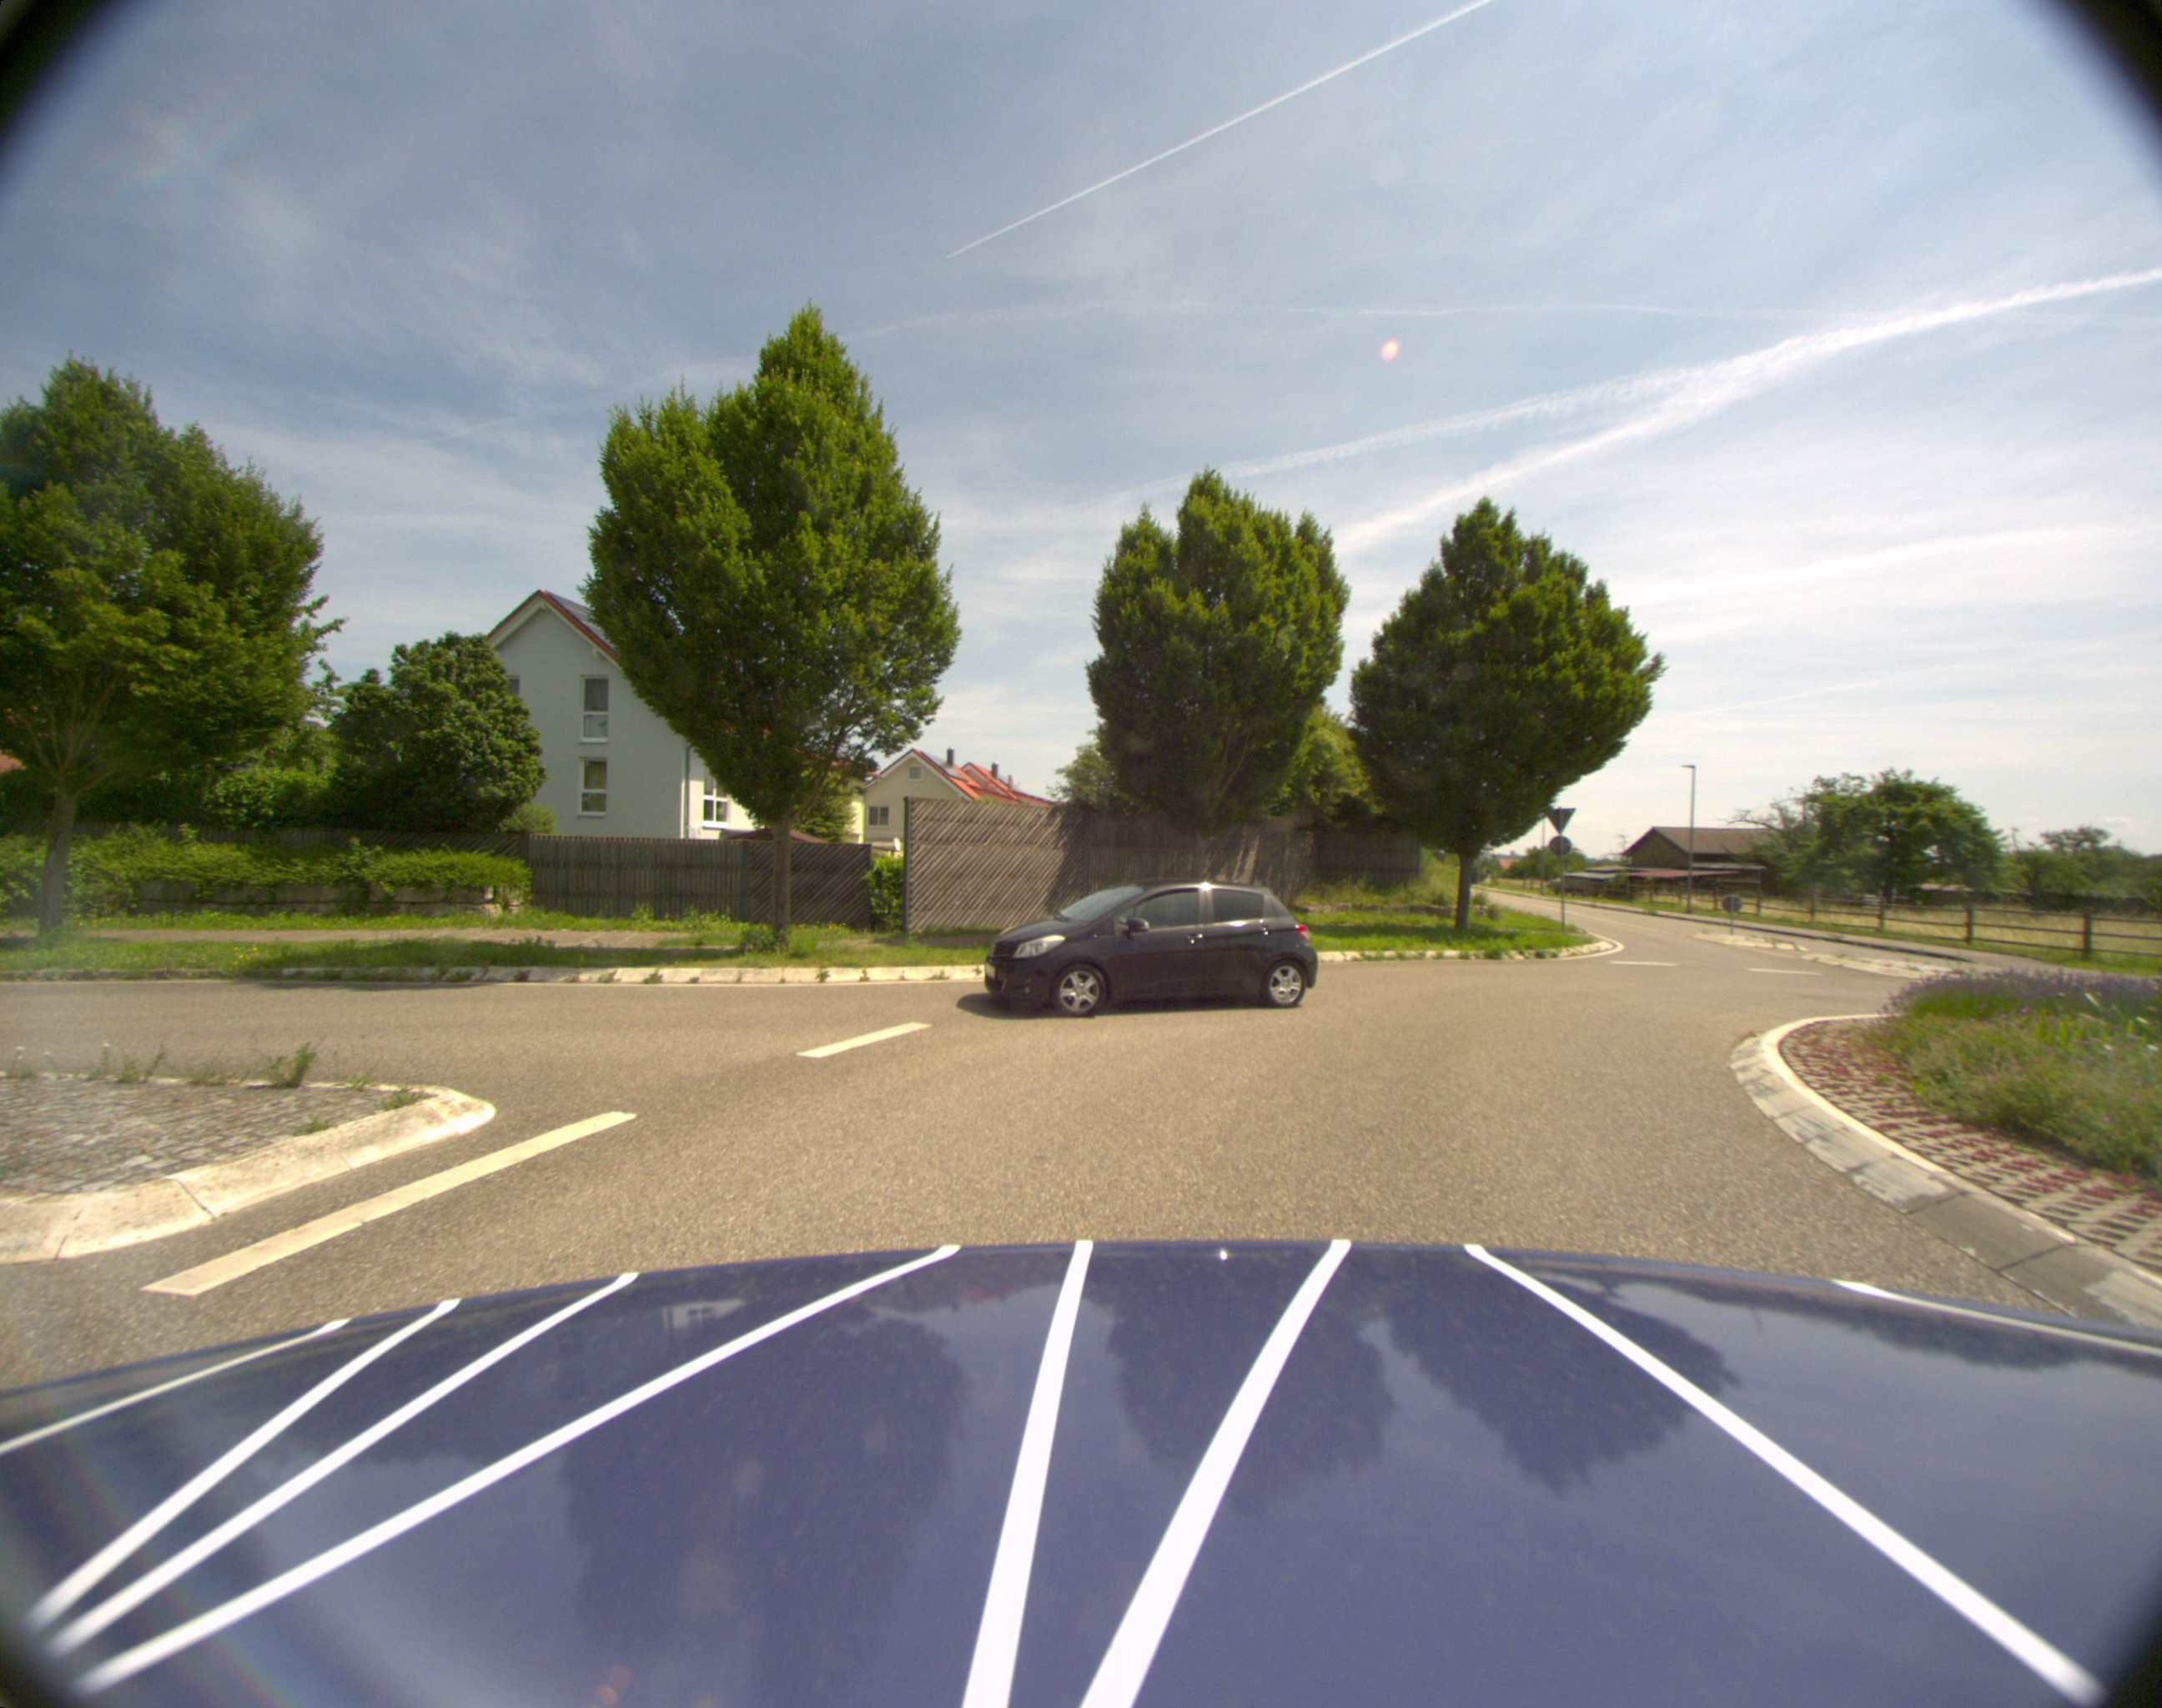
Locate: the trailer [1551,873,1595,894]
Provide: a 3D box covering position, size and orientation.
[{"bbox_3d":[44.853,2.670,69.388,2.156,1.693,5.037,4,1,20],"label":"trailer"}]

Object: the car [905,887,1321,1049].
[{"bbox_3d":[0.349,1.157,8.706,4.437,1.456,1.675,1,0,-19],"label":"car"}]
